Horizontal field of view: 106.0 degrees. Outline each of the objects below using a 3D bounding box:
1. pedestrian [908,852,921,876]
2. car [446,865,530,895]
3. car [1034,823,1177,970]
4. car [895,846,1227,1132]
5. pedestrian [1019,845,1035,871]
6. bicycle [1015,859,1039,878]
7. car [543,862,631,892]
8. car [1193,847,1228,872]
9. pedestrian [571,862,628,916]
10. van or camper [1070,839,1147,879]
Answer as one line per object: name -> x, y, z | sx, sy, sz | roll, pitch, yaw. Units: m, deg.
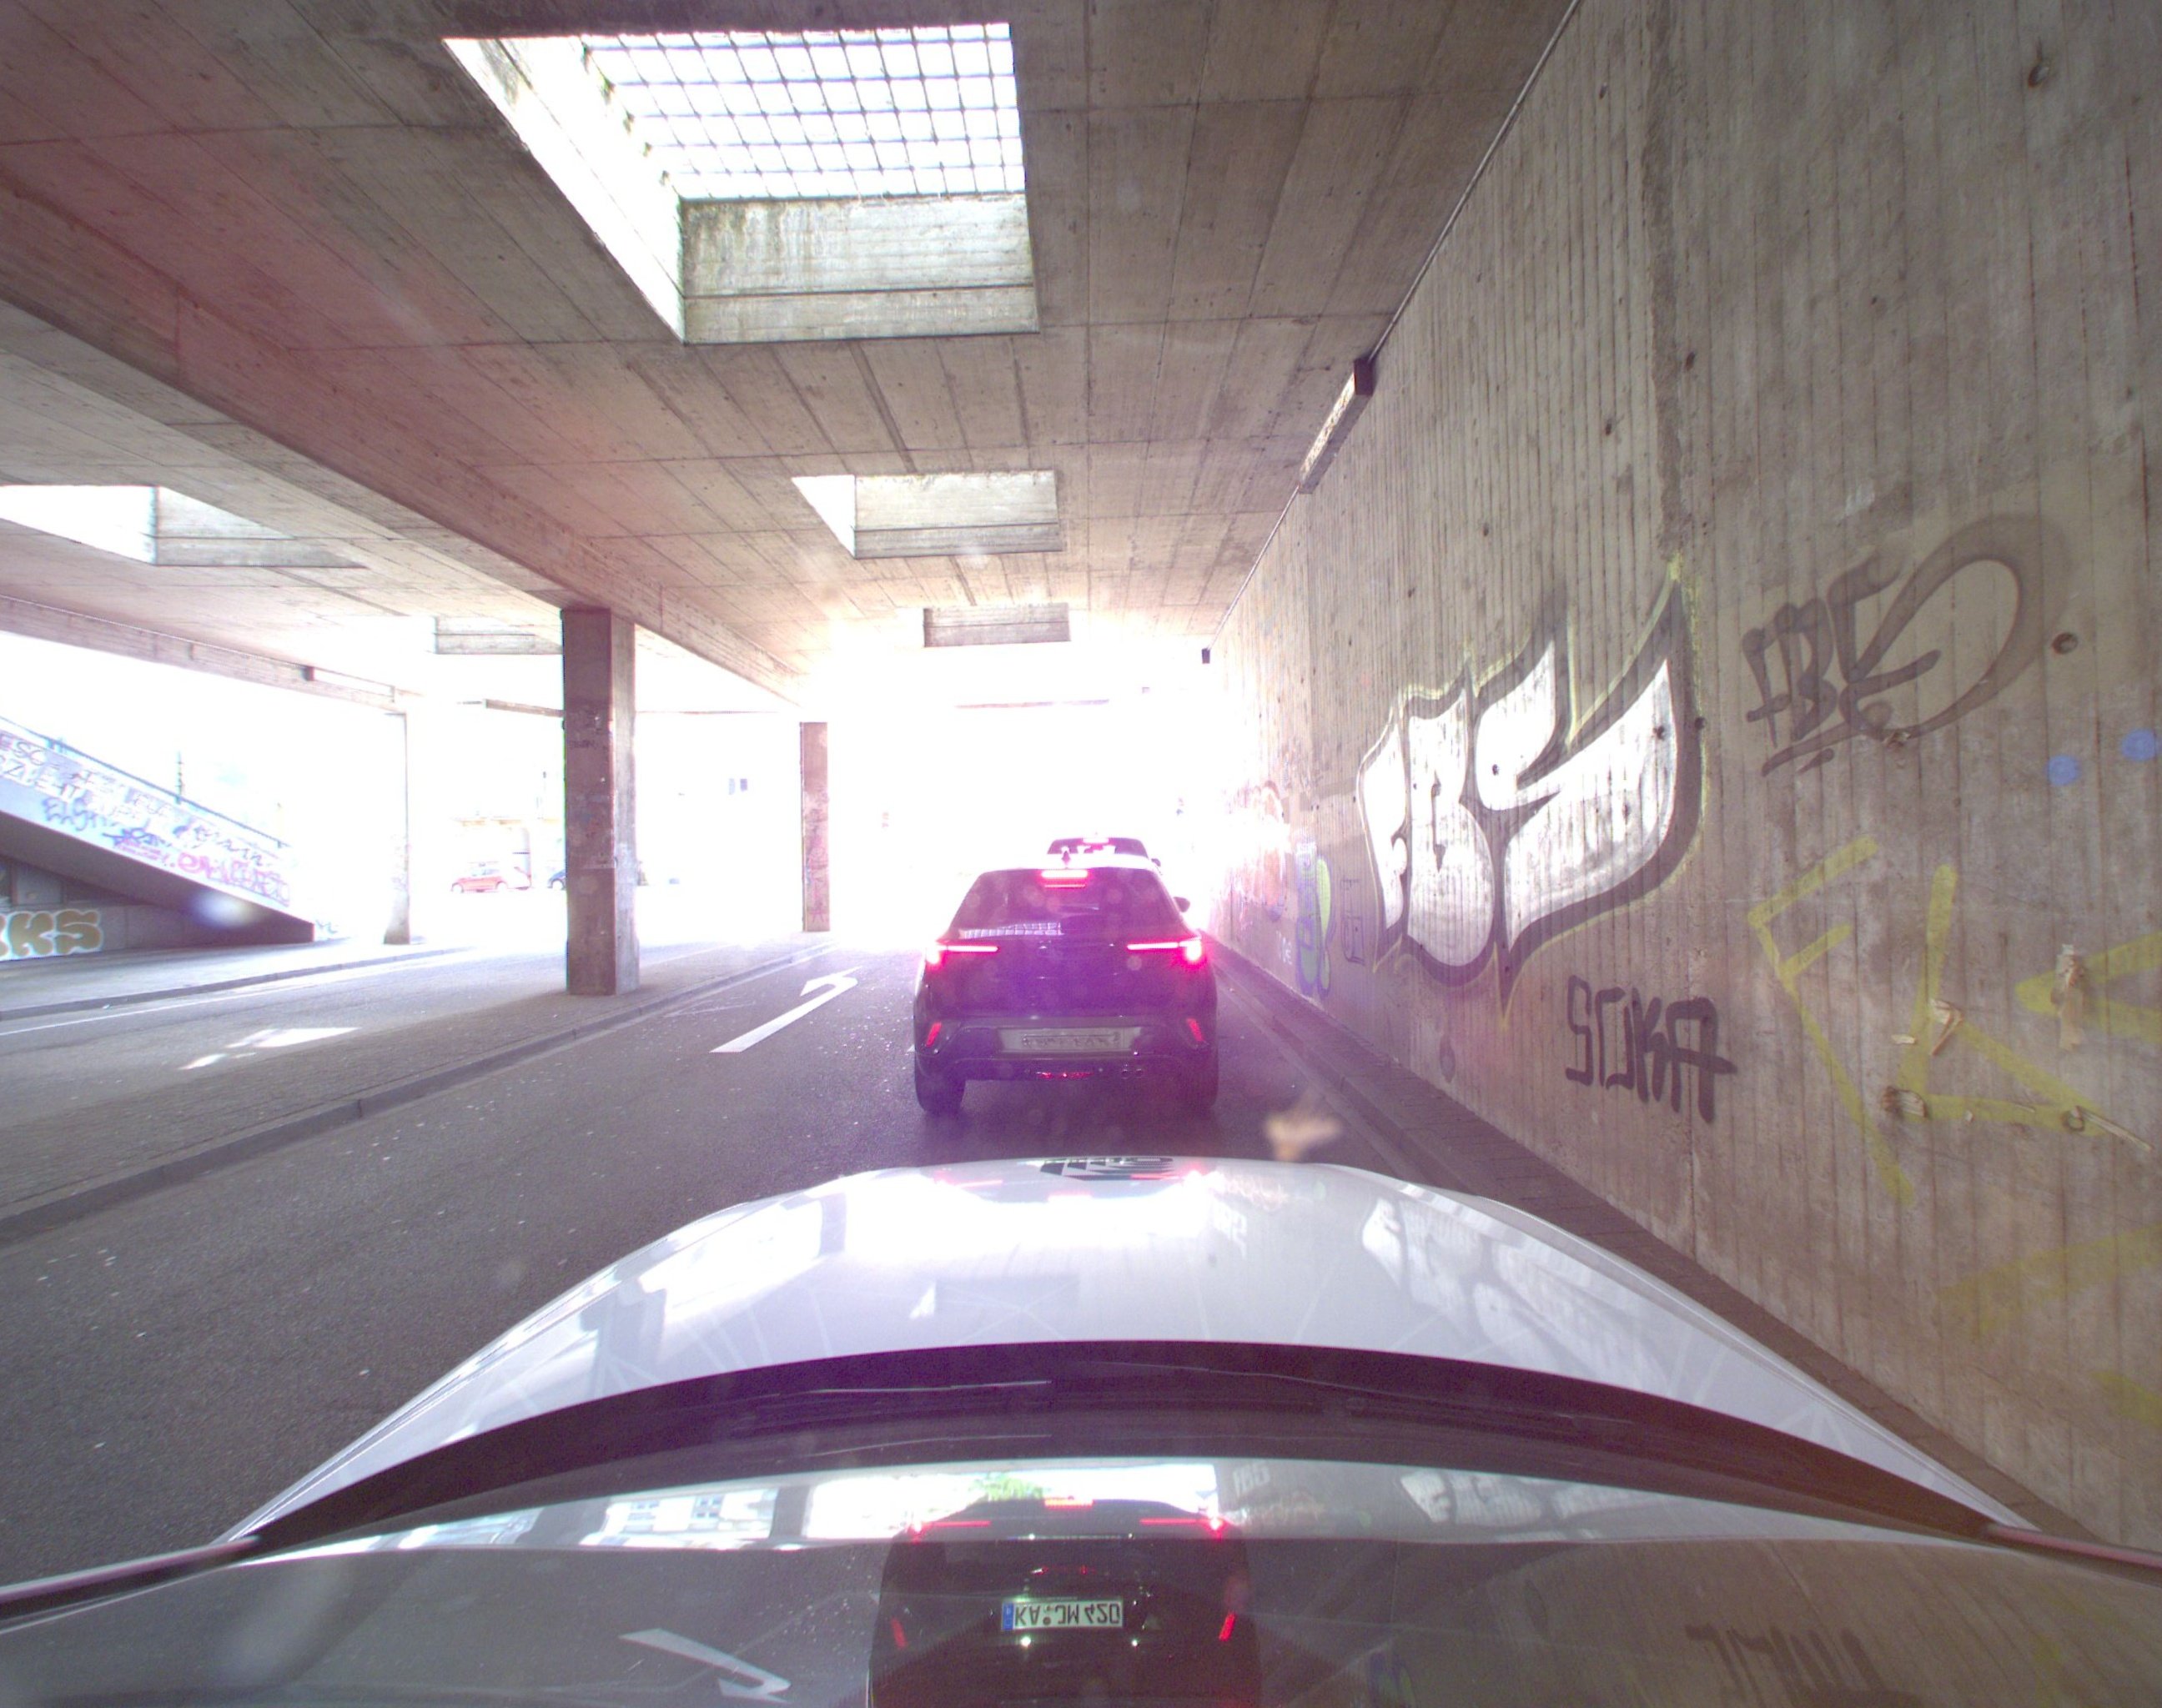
pedestrian -> -11.468, 0.690, 56.228 | 0.618, 1.705, 0.726 | 0, -1, 13
car -> -32.841, 1.424, 45.143 | 3.519, 1.506, 1.563 | -1, 0, 2
car -> 0.377, 0.530, 12.220 | 1.779, 1.833, 3.962 | -1, 0, 2
car -> -0.031, 0.709, 6.289 | 1.746, 1.498, 4.002 | 0, 0, 2
pedestrian -> -3.393, 0.260, 51.680 | 0.729, 1.585, 0.894 | 0, -1, 18
bicycle -> -3.409, 0.895, 51.593 | 0.730, 1.130, 2.036 | -2, 0, 19
car -> -27.389, 1.276, 45.229 | 3.742, 1.508, 1.752 | -2, 0, 0
car -> 8.443, 0.329, 52.673 | 1.980, 1.534, 4.749 | -1, 0, 11
pedestrian -> -15.928, 1.150, 26.967 | 1.103, 1.737, 1.146 | -1, 0, 15
van or camper -> 1.512, 0.280, 43.719 | 3.854, 2.013, 2.005 | -1, 0, 9
